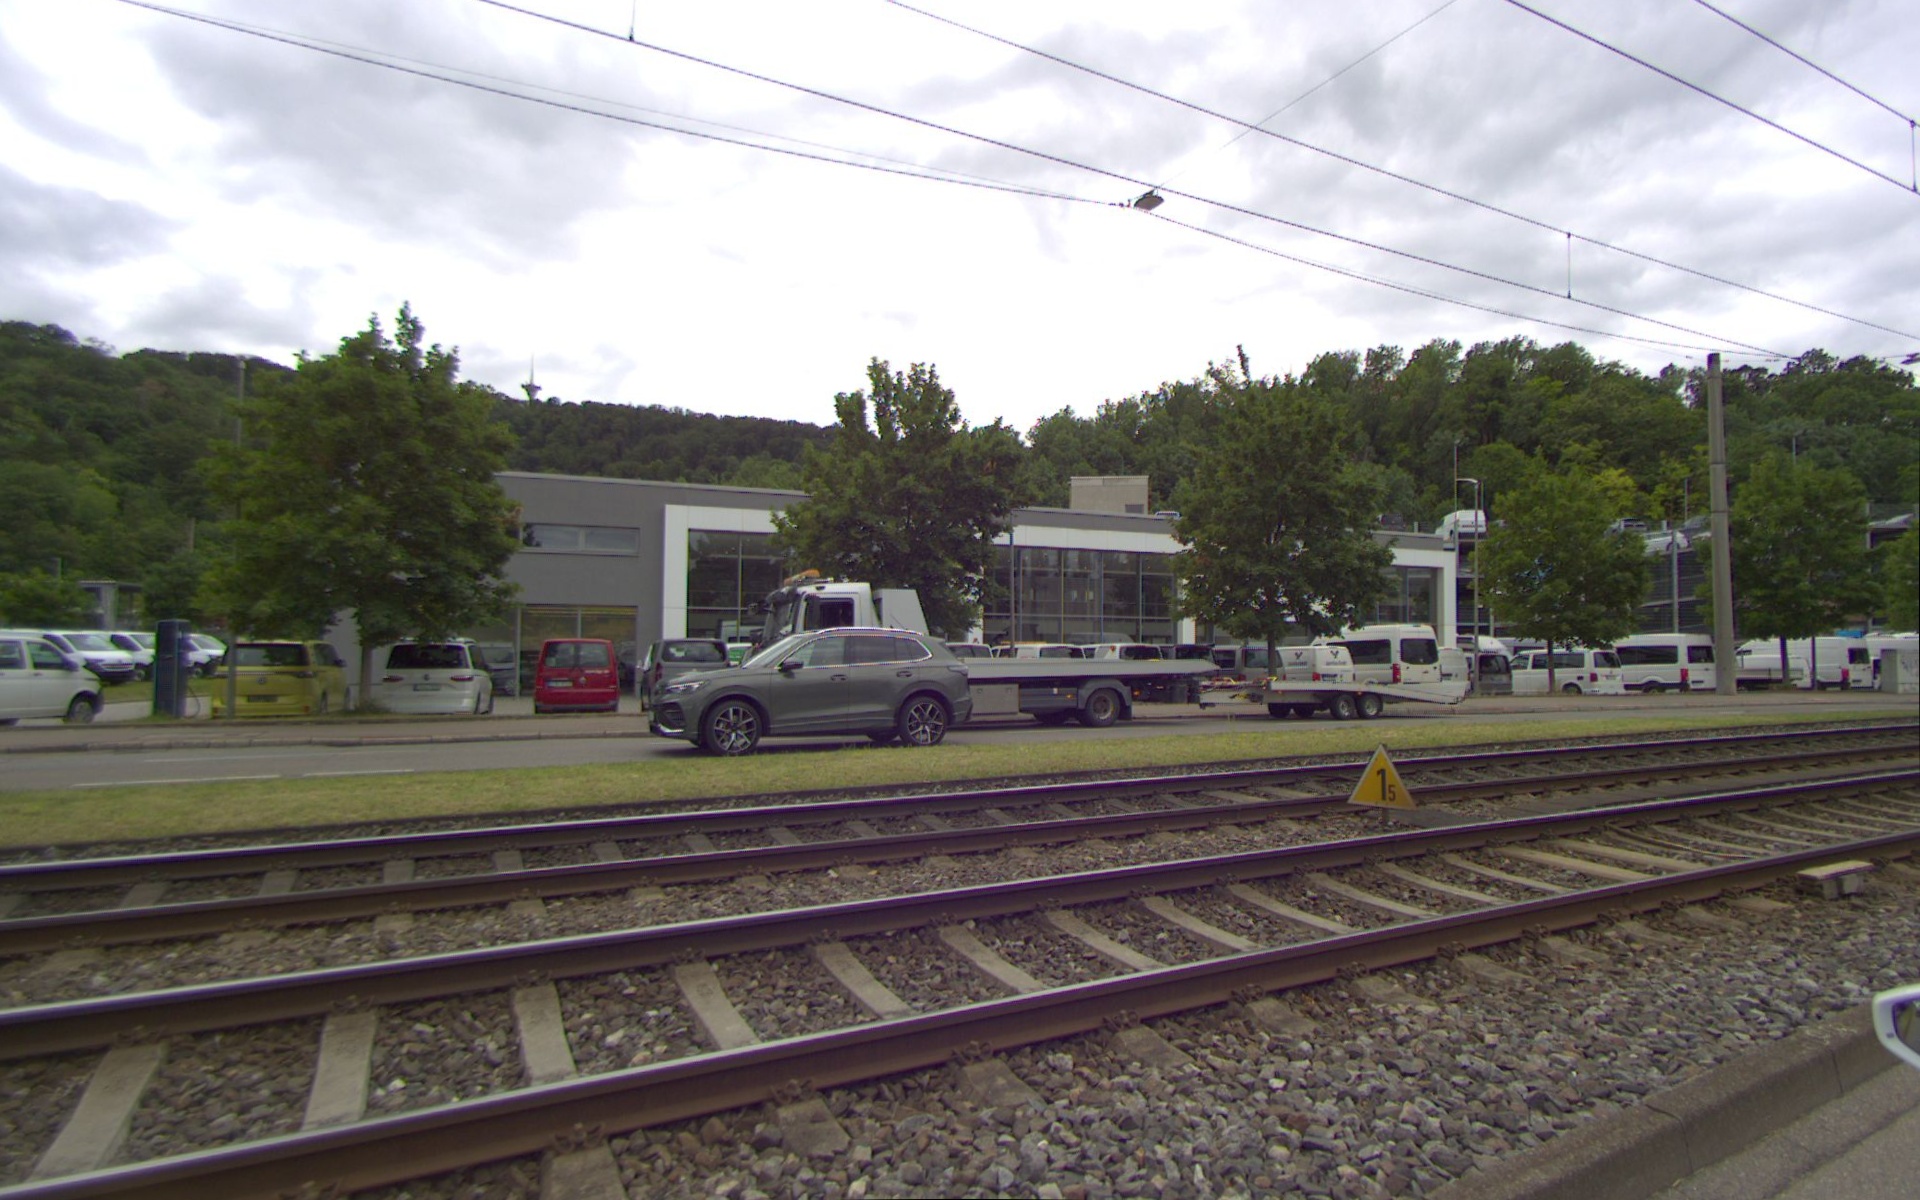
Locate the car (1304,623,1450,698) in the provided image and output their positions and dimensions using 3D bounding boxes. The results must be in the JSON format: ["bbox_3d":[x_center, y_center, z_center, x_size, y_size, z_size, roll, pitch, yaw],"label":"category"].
[{"bbox_3d":[13.883,2.003,33.777,2.092,2.341,4.493,1,-2,-19],"label":"car"}]

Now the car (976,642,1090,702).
[{"bbox_3d":[2.048,2.042,29.379,1.969,1.639,3.985,1,-3,-18],"label":"car"}]

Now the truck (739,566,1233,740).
[{"bbox_3d":[0.619,1.030,19.102,9.089,2.777,2.751,1,-4,-24],"label":"truck"}]

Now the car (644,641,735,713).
[{"bbox_3d":[-7.013,1.904,25.779,2.016,1.686,3.985,1,-3,-18],"label":"car"}]

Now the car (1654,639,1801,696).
[{"bbox_3d":[31.335,2.693,41.167,1.976,2.201,4.355,1,-3,-24],"label":"car"}]

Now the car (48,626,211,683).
[{"bbox_3d":[-32.710,2.150,39.654,4.763,2.156,2.001,0,-2,2],"label":"car"}]

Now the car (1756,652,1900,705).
[{"bbox_3d":[37.978,3.383,44.076,1.976,2.133,4.355,1,-3,-24],"label":"car"}]

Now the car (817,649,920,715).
[{"bbox_3d":[-2.585,2.194,27.617,1.969,1.639,3.985,1,-3,-18],"label":"car"}]

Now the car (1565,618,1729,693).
[{"bbox_3d":[26.752,2.139,39.354,2.086,2.734,4.954,1,-3,-24],"label":"car"}]

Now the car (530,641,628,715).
[{"bbox_3d":[-9.157,1.824,24.456,2.030,1.639,4.176,1,-3,-18],"label":"car"}]

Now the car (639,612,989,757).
[{"bbox_3d":[-2.020,1.178,14.127,4.476,1.761,1.987,2,-5,-27],"label":"car"}]

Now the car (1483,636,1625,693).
[{"bbox_3d":[22.623,2.433,38.459,1.976,2.037,4.355,1,-3,-24],"label":"car"}]

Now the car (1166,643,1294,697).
[{"bbox_3d":[8.728,2.229,32.867,1.973,1.639,4.362,1,-3,-19],"label":"car"}]

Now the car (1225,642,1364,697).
[{"bbox_3d":[11.023,2.243,33.438,2.003,1.711,4.356,1,-3,-23],"label":"car"}]

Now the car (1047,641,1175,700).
[{"bbox_3d":[4.456,2.078,30.425,1.974,1.639,4.360,1,-3,-21],"label":"car"}]

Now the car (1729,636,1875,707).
[{"bbox_3d":[36.088,3.004,43.196,1.976,2.856,4.355,1,-3,-24],"label":"car"}]

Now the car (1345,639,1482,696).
[{"bbox_3d":[15.866,2.325,35.421,1.973,1.869,4.362,1,-3,-19],"label":"car"}]

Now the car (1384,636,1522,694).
[{"bbox_3d":[17.781,2.318,36.479,1.973,1.973,4.362,1,-3,-19],"label":"car"}]

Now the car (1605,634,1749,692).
[{"bbox_3d":[28.967,2.506,40.728,1.976,2.201,4.355,1,-3,-24],"label":"car"}]

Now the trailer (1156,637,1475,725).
[{"bbox_3d":[7.902,1.760,22.244,6.849,1.720,2.378,1,-5,-23],"label":"trailer"}]

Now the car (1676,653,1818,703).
[{"bbox_3d":[33.647,3.285,43.078,1.976,1.935,4.355,1,-3,-24],"label":"car"}]

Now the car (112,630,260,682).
[{"bbox_3d":[-33.155,2.399,43.105,4.763,2.156,2.001,0,-2,2],"label":"car"}]

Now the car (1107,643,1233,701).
[{"bbox_3d":[6.543,2.221,31.868,1.973,1.708,4.362,1,-3,-19],"label":"car"}]

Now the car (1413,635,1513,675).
[{"bbox_3d":[26.747,2.893,53.605,1.968,2.040,4.841,1,-3,-18],"label":"car"}]

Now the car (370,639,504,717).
[{"bbox_3d":[-12.153,1.756,23.635,2.087,1.639,4.343,1,-3,-18],"label":"car"}]

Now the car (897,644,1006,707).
[{"bbox_3d":[-0.334,2.062,28.457,1.969,1.639,3.985,1,-3,-18],"label":"car"}]

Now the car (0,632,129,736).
[{"bbox_3d":[-19.855,1.655,19.930,2.102,2.034,5.715,0,-3,-2],"label":"car"}]

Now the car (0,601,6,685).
[{"bbox_3d":[-33.965,1.362,32.158,4.765,2.741,2.000,0,-2,-1],"label":"car"}]

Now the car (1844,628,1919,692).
[{"bbox_3d":[47.150,2.953,49.972,5.844,3.059,2.106,1,-3,-19],"label":"car"}]

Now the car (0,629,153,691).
[{"bbox_3d":[-32.324,2.144,36.248,4.763,2.156,2.001,0,-2,2],"label":"car"}]

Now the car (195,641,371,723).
[{"bbox_3d":[-14.942,1.739,22.472,2.120,1.639,4.334,1,-3,-18],"label":"car"}]

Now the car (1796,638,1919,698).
[{"bbox_3d":[42.858,3.107,46.927,2.212,2.636,5.467,1,-3,-20],"label":"car"}]
